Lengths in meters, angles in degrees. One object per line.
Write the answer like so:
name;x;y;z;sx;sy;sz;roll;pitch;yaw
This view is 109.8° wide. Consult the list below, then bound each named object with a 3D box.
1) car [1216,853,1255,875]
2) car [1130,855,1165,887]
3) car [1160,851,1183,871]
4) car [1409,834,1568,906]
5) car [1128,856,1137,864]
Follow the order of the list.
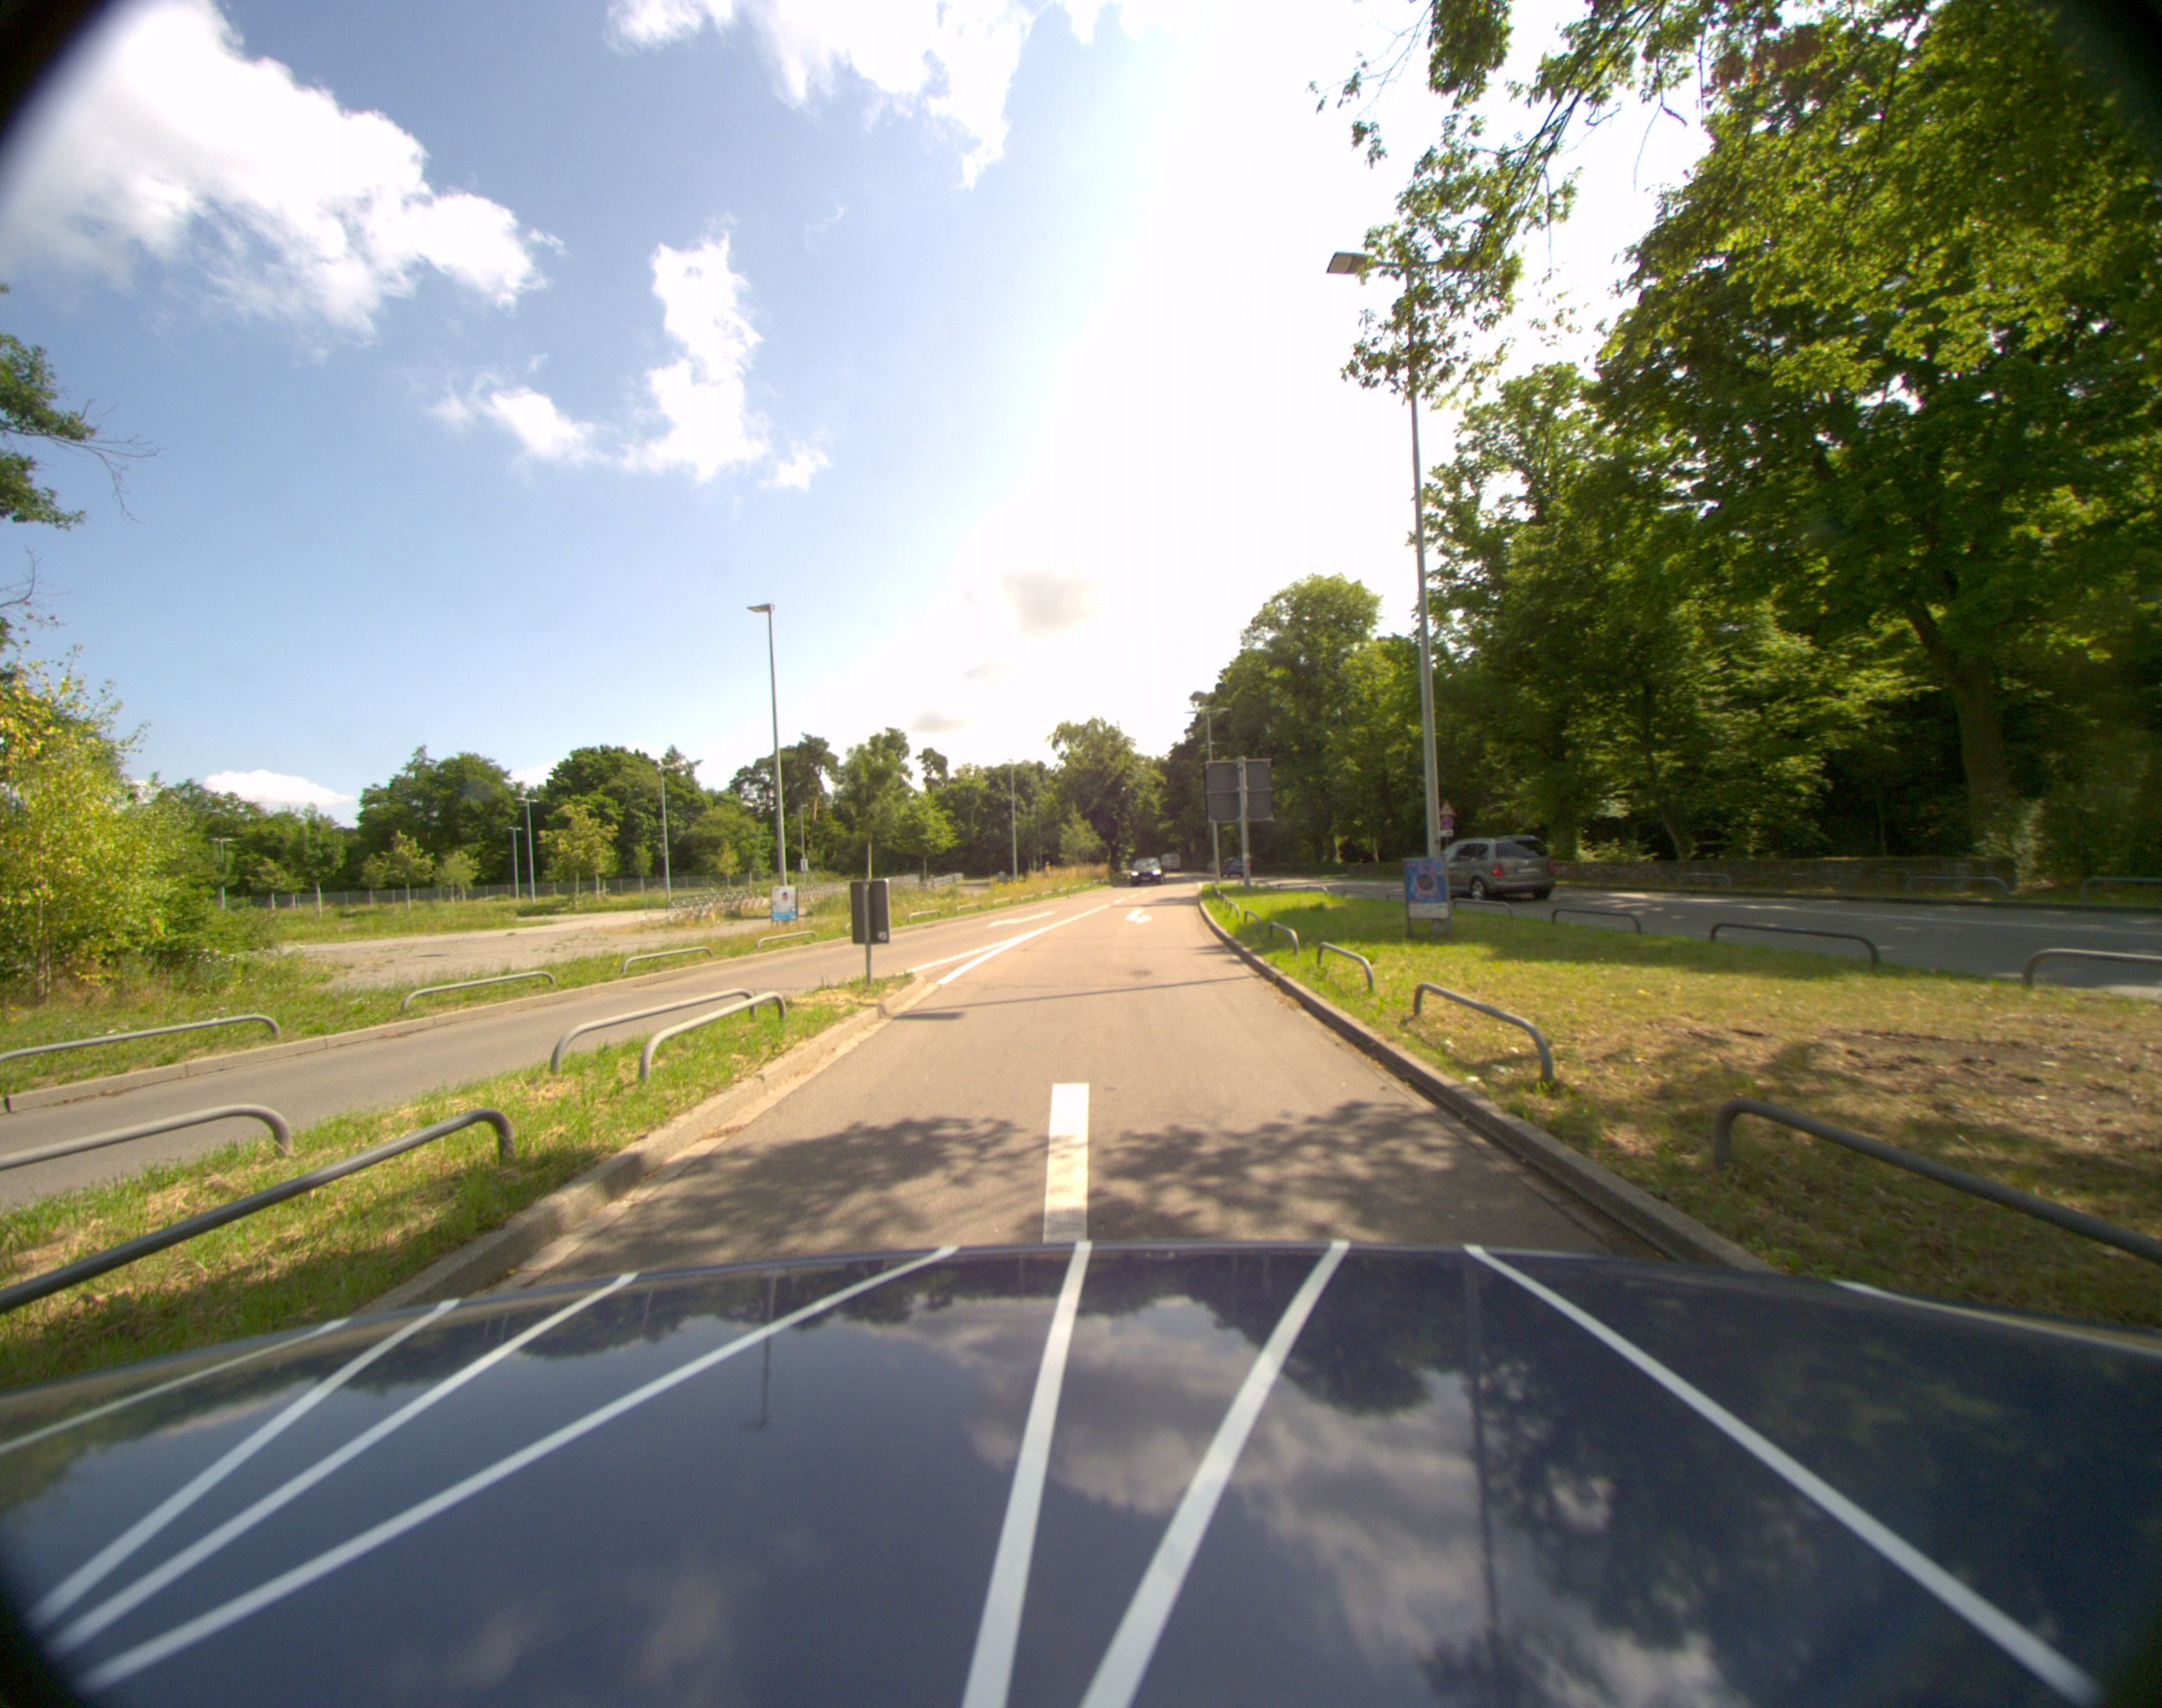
car;11.382;0.718;56.349;1.699;1.438;4.065;-4;1;-4
car;4.234;1.008;47.677;1.979;1.754;4.709;-3;1;6
car;11.606;0.887;97.593;1.980;2.417;5.361;-4;1;-2
car;10.905;0.416;20.721;1.766;1.620;4.298;-5;-1;-3
car;11.119;1.288;164.184;1.655;1.461;3.870;-2;1;-1
